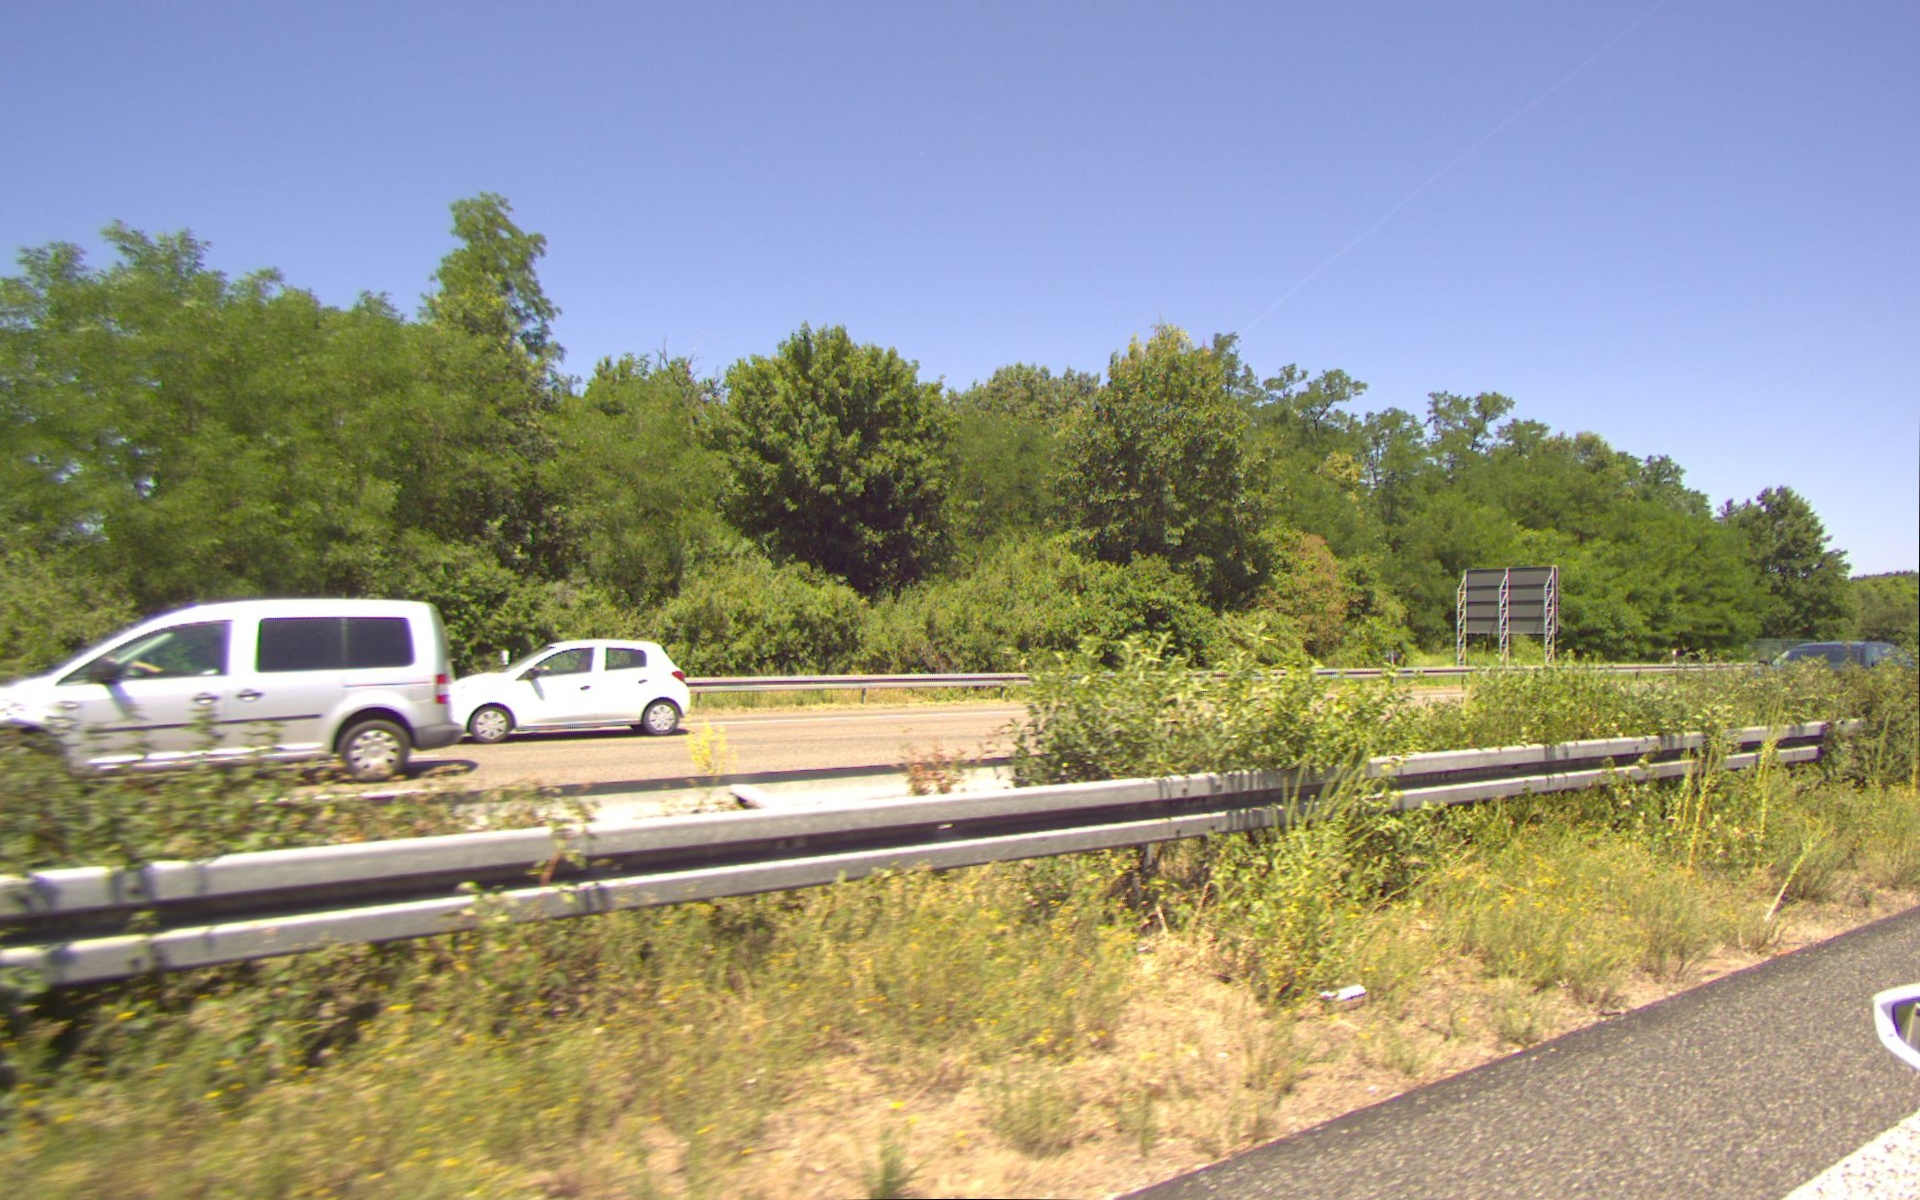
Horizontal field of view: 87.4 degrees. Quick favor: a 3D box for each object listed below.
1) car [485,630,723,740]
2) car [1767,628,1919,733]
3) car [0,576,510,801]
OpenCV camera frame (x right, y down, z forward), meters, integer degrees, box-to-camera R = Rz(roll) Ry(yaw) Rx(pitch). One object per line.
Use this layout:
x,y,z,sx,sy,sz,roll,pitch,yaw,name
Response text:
-5.589,1.303,15.858,3.297,1.572,1.554,2,-4,-31,car
19.877,1.697,22.114,3.953,2.040,1.984,2,0,-30,car
-7.097,0.847,10.221,4.390,1.886,1.984,2,-4,-31,car
